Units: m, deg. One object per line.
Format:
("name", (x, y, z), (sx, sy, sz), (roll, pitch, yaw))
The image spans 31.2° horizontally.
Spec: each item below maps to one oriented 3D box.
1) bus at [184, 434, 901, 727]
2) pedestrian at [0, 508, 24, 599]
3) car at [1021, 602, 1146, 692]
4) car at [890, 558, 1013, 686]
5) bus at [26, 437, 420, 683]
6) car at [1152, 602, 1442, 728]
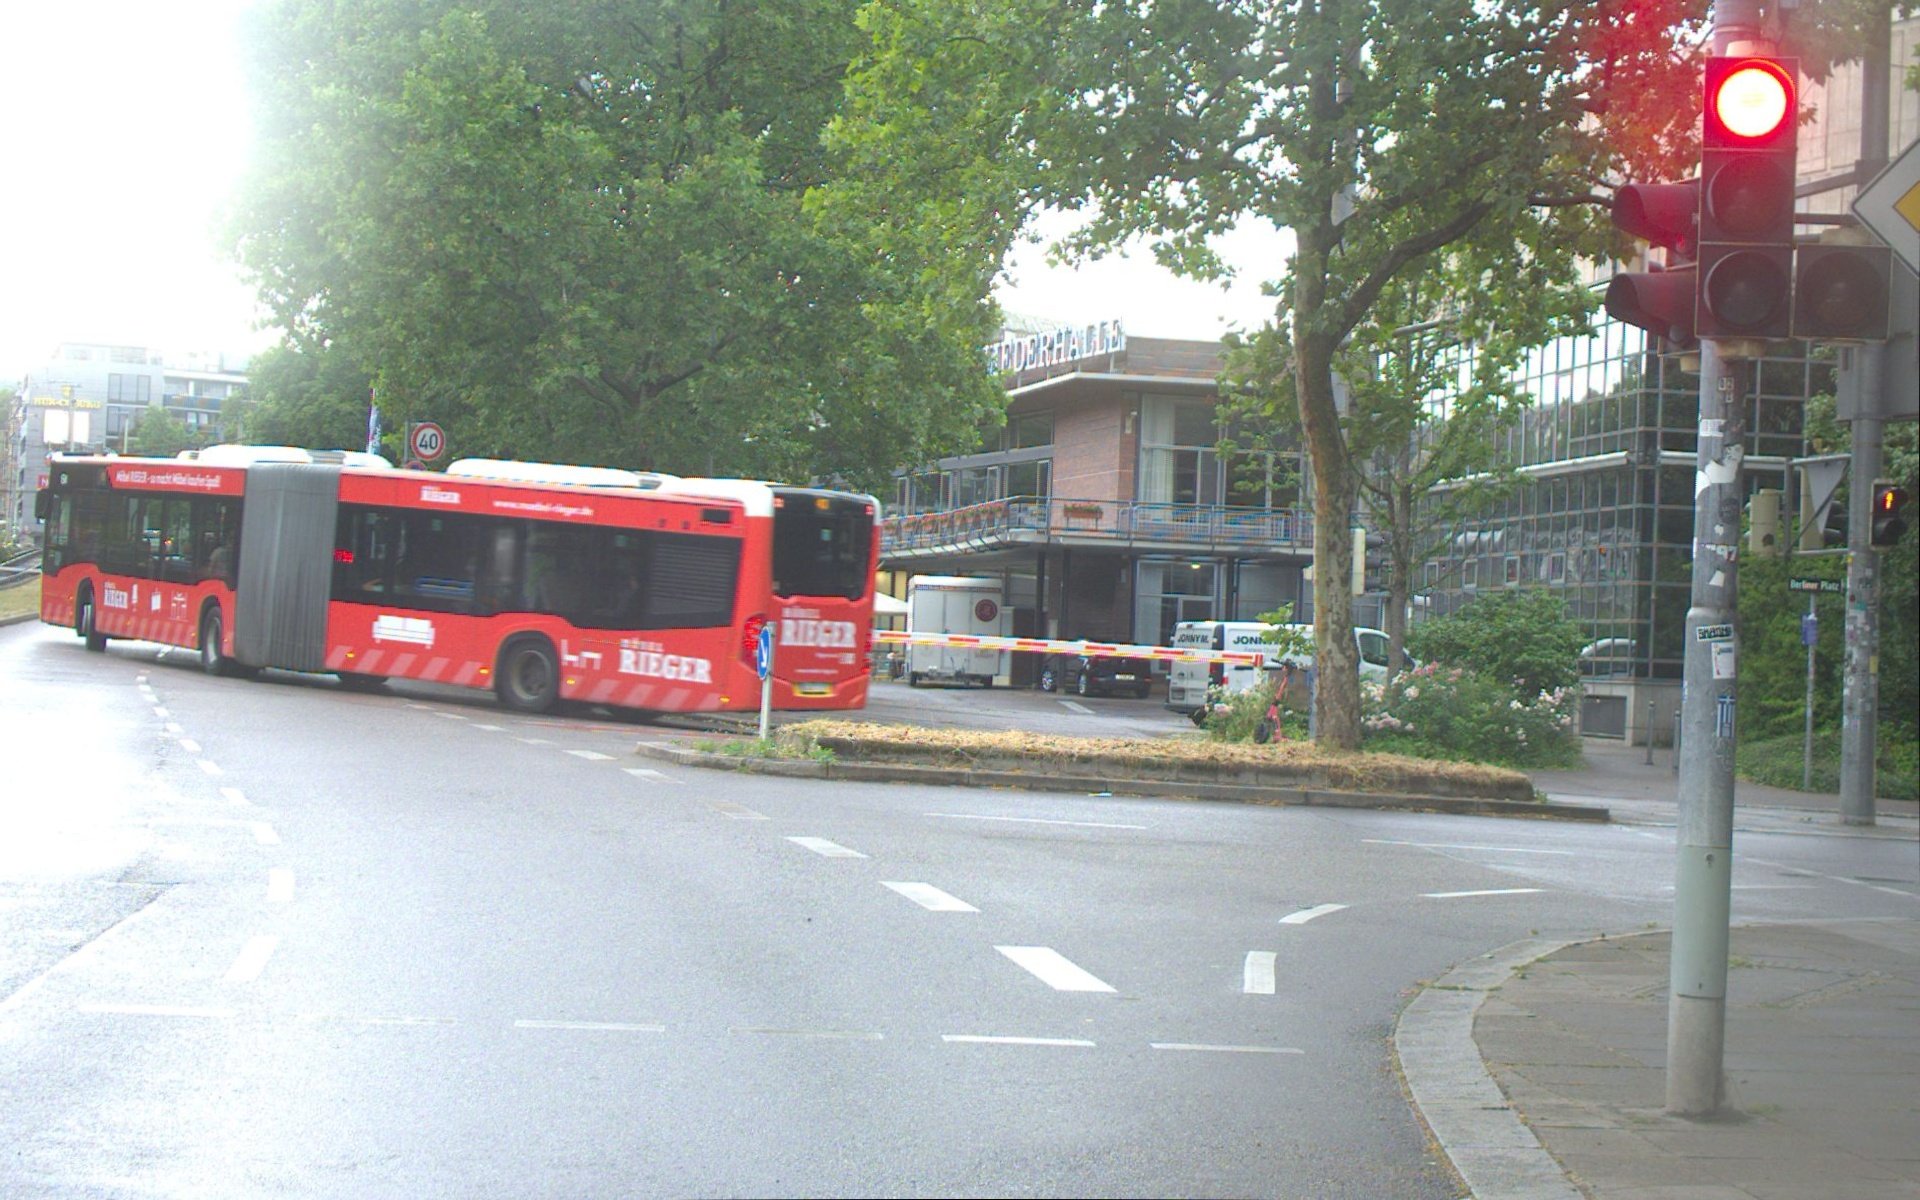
("bus", (-5.394, -0.303, 43.296), (9.173, 3.100, 2.658), (4, -1, 33))
("pedestrian", (-17.576, -0.865, 62.641), (0.738, 1.634, 0.871), (4, -1, -5))
("car", (3.019, 1.145, 84.952), (1.993, 2.007, 4.001), (4, 0, -13))
("car", (-0.270, 0.576, 91.042), (2.544, 3.123, 5.032), (4, 0, -6))
("bus", (-10.857, -0.644, 49.714), (2.550, 3.100, 9.456), (4, -1, -30))
("car", (6.135, 1.184, 62.562), (4.745, 1.937, 2.001), (4, -1, -22))
